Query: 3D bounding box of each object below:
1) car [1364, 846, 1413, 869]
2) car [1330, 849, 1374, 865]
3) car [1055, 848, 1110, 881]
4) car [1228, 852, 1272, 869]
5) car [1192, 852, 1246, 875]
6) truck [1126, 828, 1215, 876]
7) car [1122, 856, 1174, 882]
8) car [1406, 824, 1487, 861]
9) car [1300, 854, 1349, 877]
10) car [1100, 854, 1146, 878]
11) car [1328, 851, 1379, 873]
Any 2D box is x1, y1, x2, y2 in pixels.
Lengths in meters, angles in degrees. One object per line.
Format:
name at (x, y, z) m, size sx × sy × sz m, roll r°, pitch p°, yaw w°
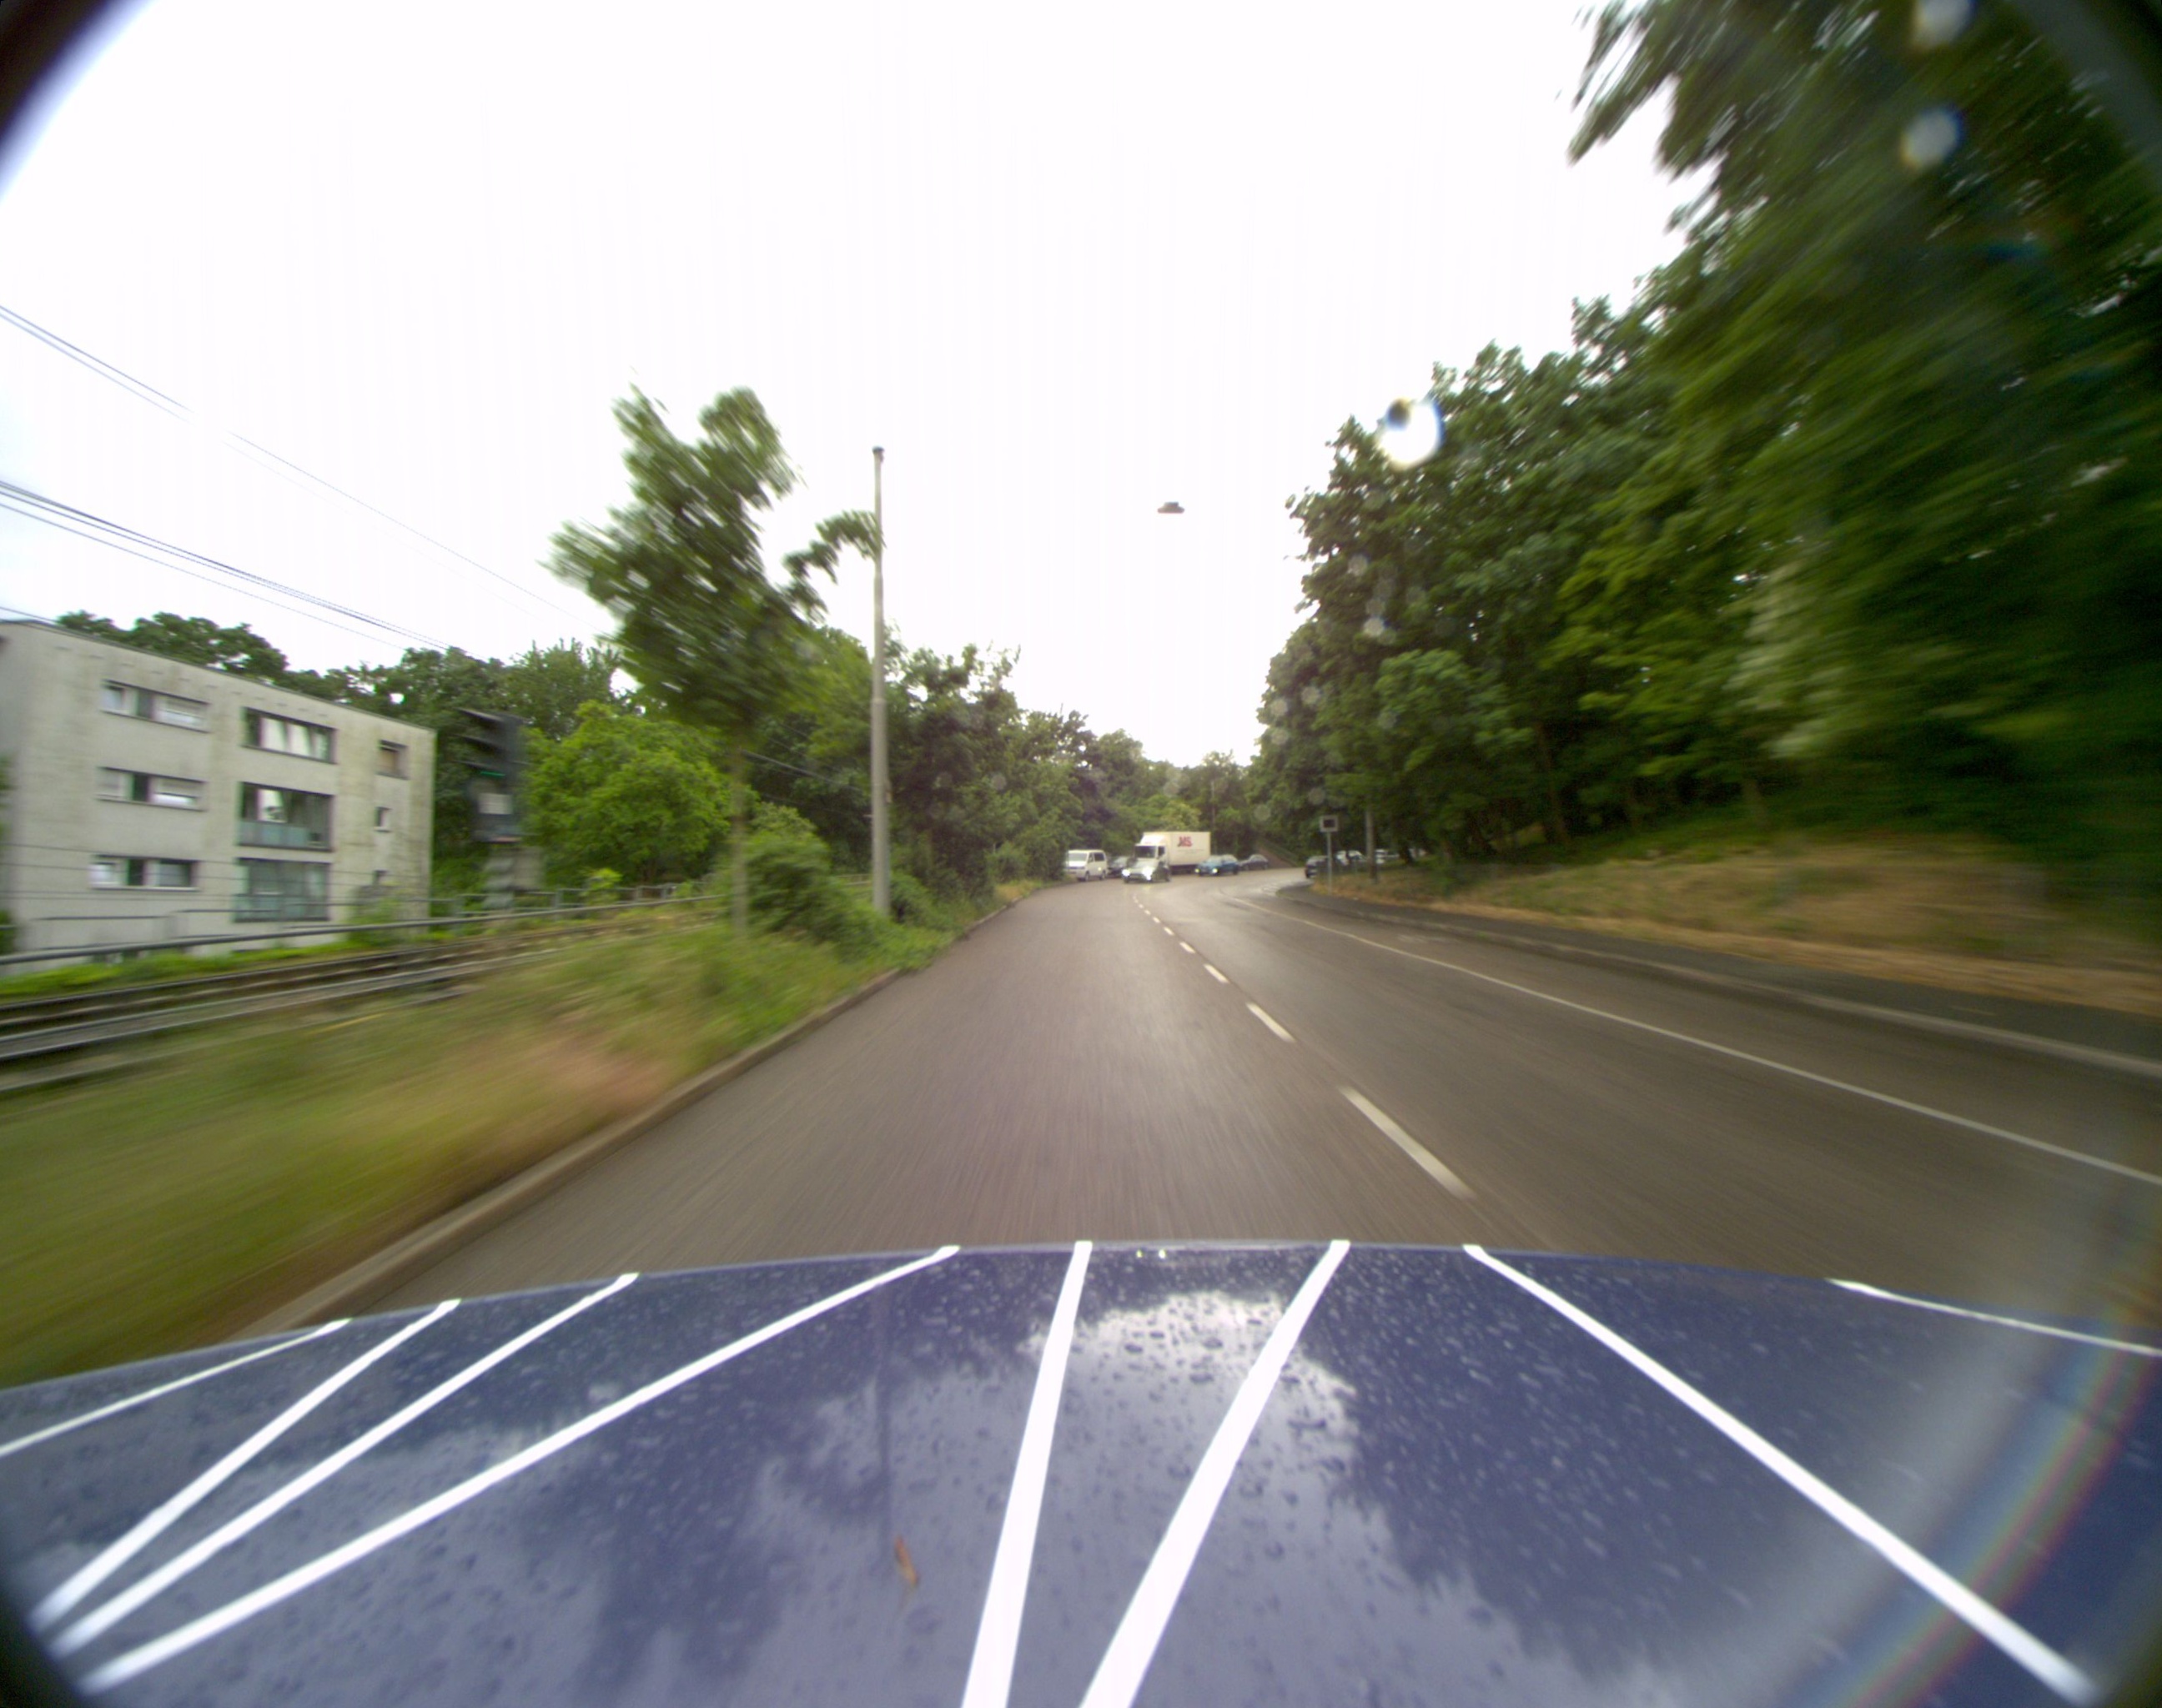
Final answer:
car at (24.283, 0.243, 59.987) m, size 4.031 × 1.574 × 1.805 m, roll -4°, pitch 2°, yaw -39°
car at (27.325, 0.313, 76.643) m, size 4.100 × 1.392 × 1.758 m, roll -2°, pitch -2°, yaw -24°
car at (0.184, 0.600, 48.984) m, size 1.878 × 2.002 × 4.699 m, roll 1°, pitch 1°, yaw 23°
car at (15.418, 0.606, 69.334) m, size 4.132 × 1.435 × 1.721 m, roll -1°, pitch 0°, yaw -39°
car at (10.749, 0.741, 58.947) m, size 1.994 × 1.660 × 4.540 m, roll -1°, pitch -1°, yaw 41°
truck at (7.356, -0.246, 61.283) m, size 3.008 × 3.553 × 8.352 m, roll -2°, pitch 0°, yaw 38°
car at (4.284, 0.930, 47.913) m, size 1.895 × 1.530 × 4.508 m, roll 0°, pitch 0°, yaw 24°
car at (30.476, -0.989, 63.411) m, size 6.353 × 2.540 × 2.072 m, roll -3°, pitch 13°, yaw -23°
car at (16.926, 0.778, 52.796) m, size 1.774 × 1.434 × 4.023 m, roll -1°, pitch 1°, yaw 41°
car at (3.083, 0.826, 54.645) m, size 1.719 × 1.547 × 4.284 m, roll 0°, pitch 1°, yaw 27°
car at (20.313, 0.589, 56.580) m, size 4.055 × 1.448 × 1.752 m, roll -3°, pitch 1°, yaw -41°
